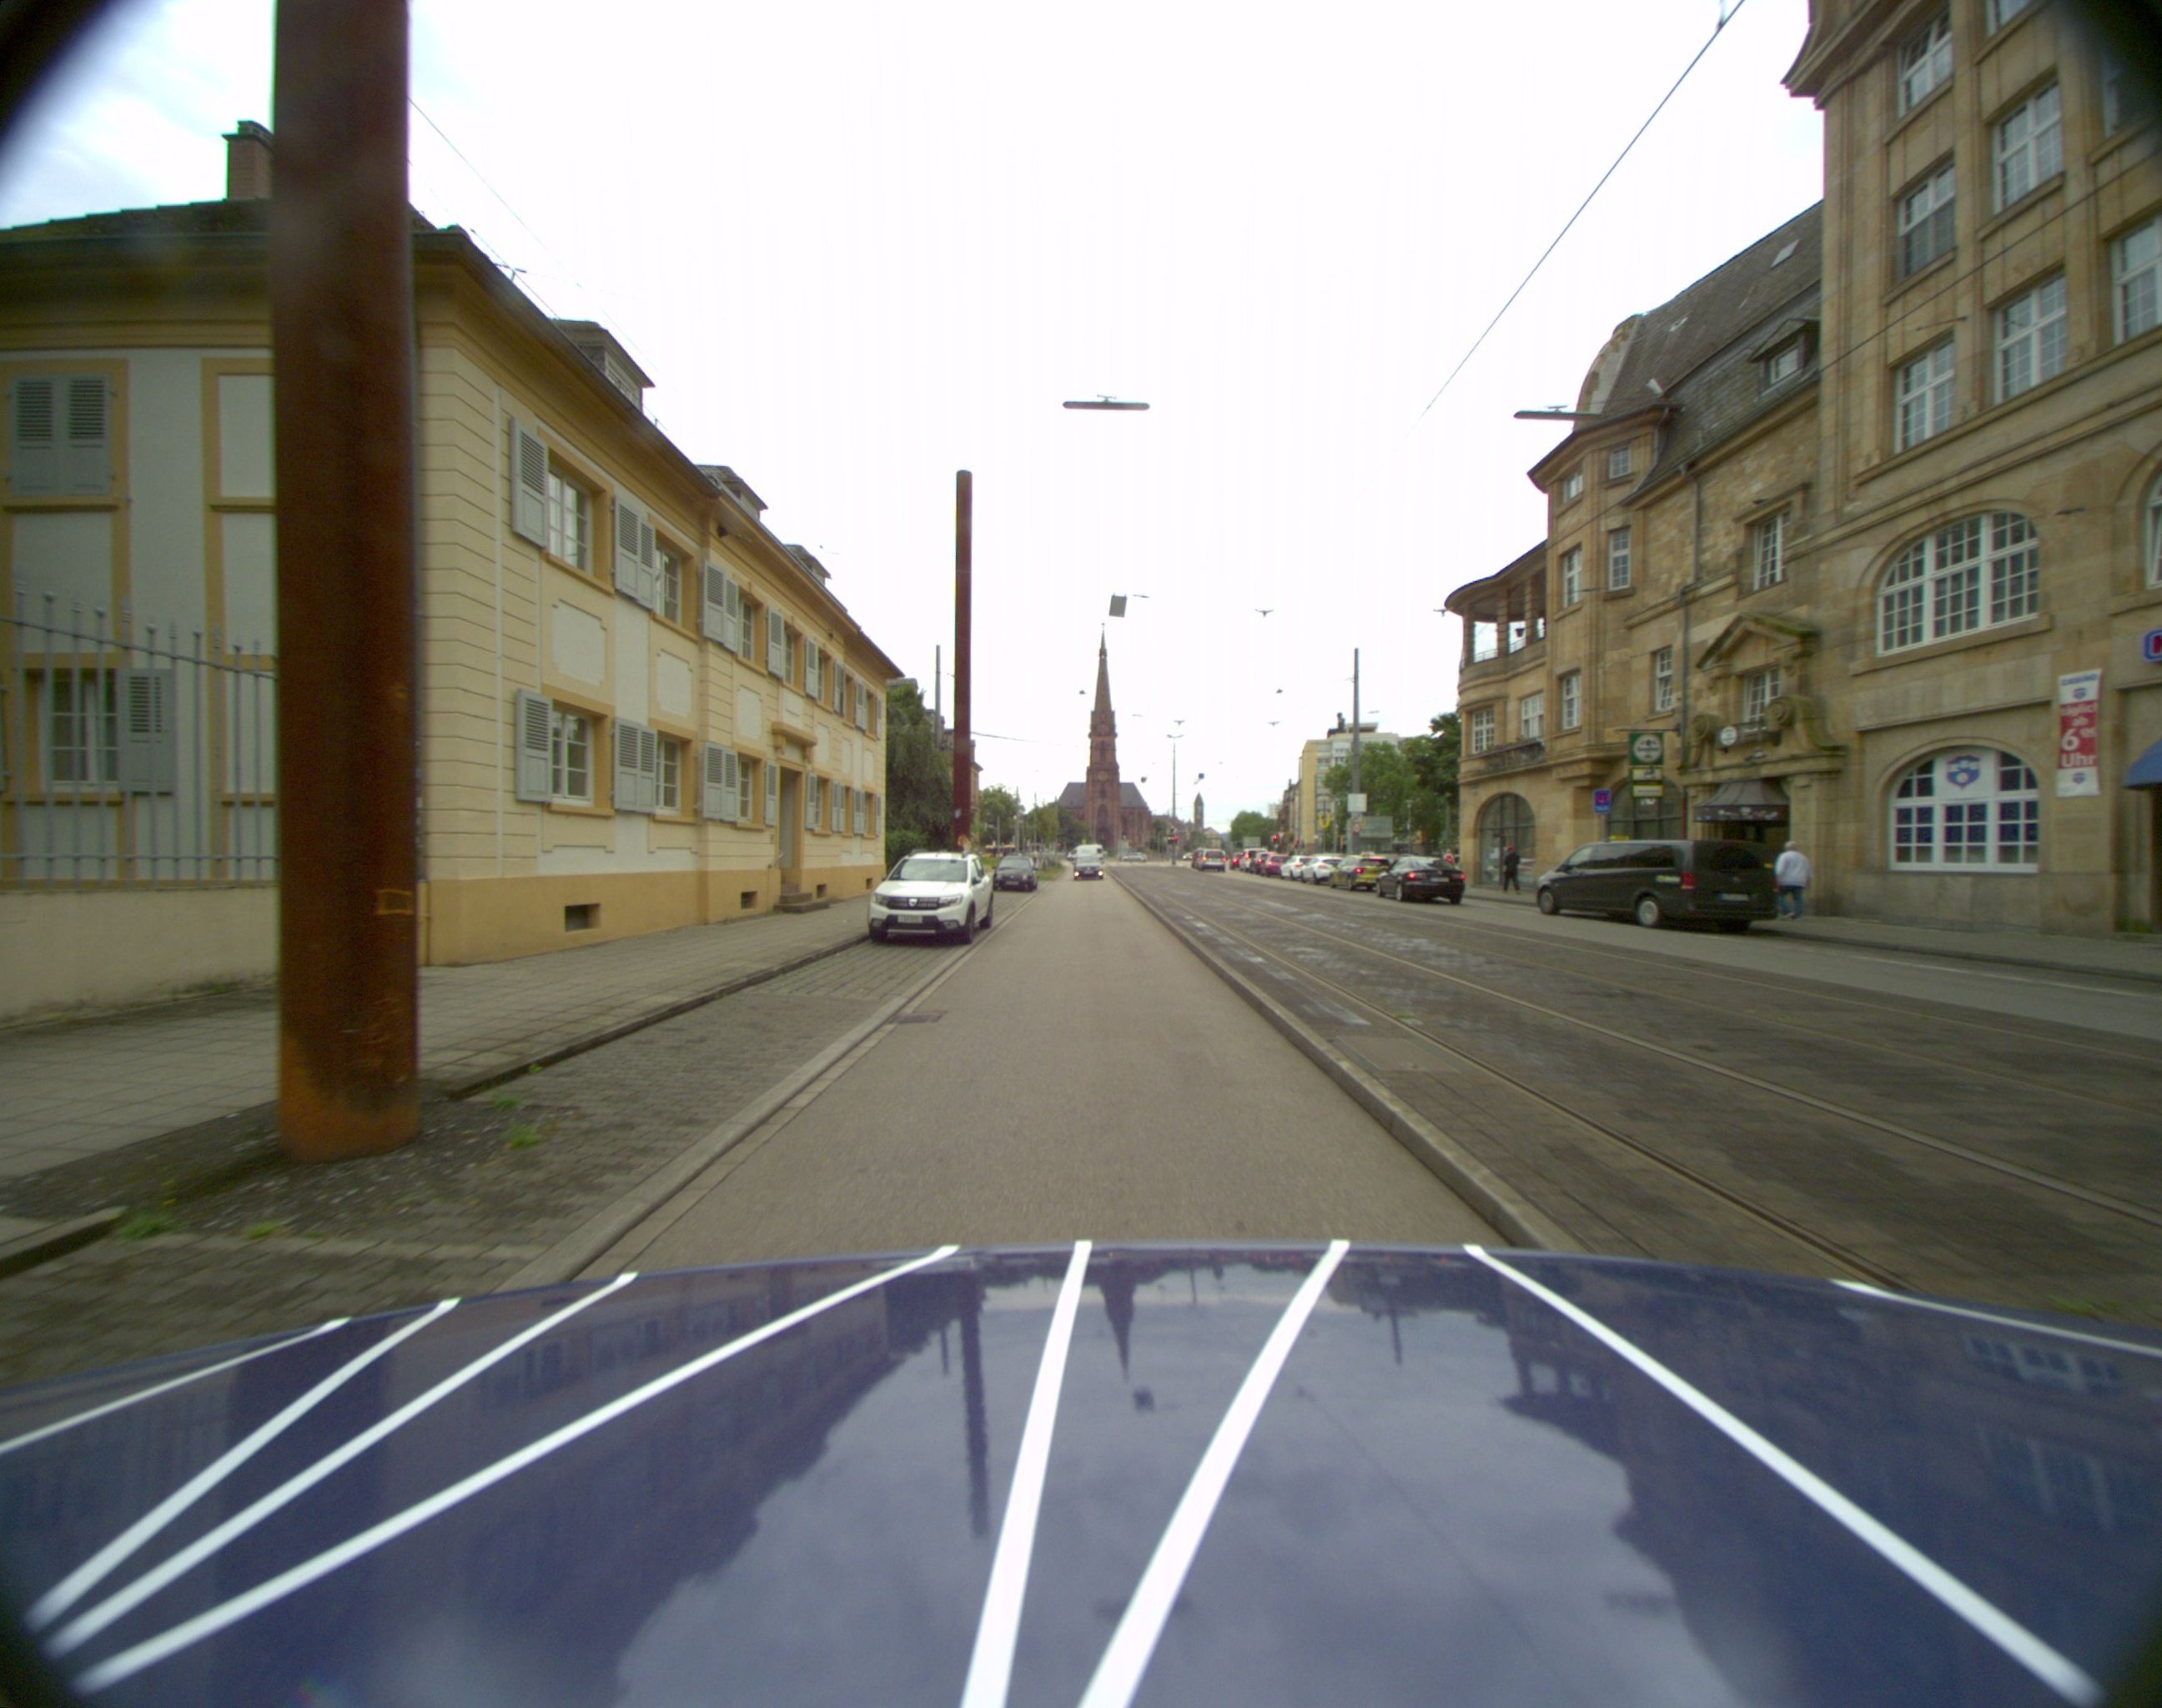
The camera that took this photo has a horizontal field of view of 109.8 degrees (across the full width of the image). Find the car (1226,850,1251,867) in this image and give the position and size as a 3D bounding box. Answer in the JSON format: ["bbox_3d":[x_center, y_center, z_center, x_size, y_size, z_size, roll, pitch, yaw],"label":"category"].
[{"bbox_3d":[13.778,0.358,66.596,1.692,1.434,4.001,0,1,4],"label":"car"}]

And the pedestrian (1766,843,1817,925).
[{"bbox_3d":[15.154,0.633,16.217,0.599,1.718,0.523,0,1,-3],"label":"pedestrian"}]

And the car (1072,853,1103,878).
[{"bbox_3d":[0.337,0.637,44.006,1.655,1.404,3.999,0,0,-1],"label":"car"}]

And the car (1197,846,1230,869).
[{"bbox_3d":[10.333,0.247,59.619,1.867,1.696,4.909,1,0,2],"label":"car"}]

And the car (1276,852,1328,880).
[{"bbox_3d":[12.453,0.635,43.060,1.751,1.372,4.362,3,1,2],"label":"car"}]

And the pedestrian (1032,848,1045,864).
[{"bbox_3d":[-5.011,0.222,89.671,1.283,1.856,0.889,0,1,34],"label":"pedestrian"}]

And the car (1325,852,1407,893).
[{"bbox_3d":[11.534,0.686,31.098,1.903,1.502,4.429,1,0,4],"label":"car"}]

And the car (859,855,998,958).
[{"bbox_3d":[-2.668,0.848,14.216,1.759,1.565,3.930,2,0,0],"label":"car"}]

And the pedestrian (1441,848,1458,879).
[{"bbox_3d":[20.067,0.502,41.383,0.533,1.709,0.631,-1,1,-20],"label":"pedestrian"}]

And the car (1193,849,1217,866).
[{"bbox_3d":[10.749,0.297,65.927,1.692,1.434,4.001,0,1,4],"label":"car"}]

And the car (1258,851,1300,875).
[{"bbox_3d":[12.572,0.570,48.402,1.867,1.391,3.896,2,1,4],"label":"car"}]

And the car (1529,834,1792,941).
[{"bbox_3d":[12.470,0.619,16.931,1.904,1.966,5.097,2,0,0],"label":"car"}]

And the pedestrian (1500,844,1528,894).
[{"bbox_3d":[15.281,0.526,26.831,0.496,1.718,0.765,0,1,-3],"label":"pedestrian"}]

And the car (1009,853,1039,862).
[{"bbox_3d":[-9.620,0.566,128.766,4.652,1.412,2.003,0,1,18],"label":"car"}]

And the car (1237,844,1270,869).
[{"bbox_3d":[13.690,0.167,60.482,1.867,1.905,5.102,0,0,5],"label":"car"}]

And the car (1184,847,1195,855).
[{"bbox_3d":[21.671,-0.607,151.512,1.997,1.433,4.003,0,0,10],"label":"car"}]

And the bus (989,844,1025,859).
[{"bbox_3d":[-16.276,-0.564,166.560,2.869,3.060,11.989,-1,2,-31],"label":"bus"}]

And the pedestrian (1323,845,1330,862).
[{"bbox_3d":[25.353,-0.067,78.476,0.601,1.718,0.914,0,1,26],"label":"pedestrian"}]

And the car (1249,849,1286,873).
[{"bbox_3d":[13.172,0.471,53.757,1.867,1.525,4.303,2,1,5],"label":"car"}]

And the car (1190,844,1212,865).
[{"bbox_3d":[11.247,0.001,71.646,1.692,1.889,4.387,0,1,4],"label":"car"}]

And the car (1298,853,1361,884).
[{"bbox_3d":[12.067,0.666,37.208,1.931,1.372,4.258,0,0,3],"label":"car"}]

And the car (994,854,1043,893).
[{"bbox_3d":[-2.530,0.745,31.305,1.641,1.425,3.930,2,0,0],"label":"car"}]

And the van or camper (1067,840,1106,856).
[{"bbox_3d":[0.875,-0.989,122.106,6.034,2.596,2.428,1,2,34],"label":"van or camper"}]

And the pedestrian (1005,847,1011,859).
[{"bbox_3d":[-11.927,-0.129,124.291,0.782,1.932,0.979,0,1,-22],"label":"pedestrian"}]

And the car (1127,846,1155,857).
[{"bbox_3d":[9.582,-0.433,121.322,3.988,1.740,2.004,1,2,37],"label":"car"}]

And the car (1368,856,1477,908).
[{"bbox_3d":[10.693,0.802,24.176,1.830,1.425,4.670,2,0,8],"label":"car"}]
